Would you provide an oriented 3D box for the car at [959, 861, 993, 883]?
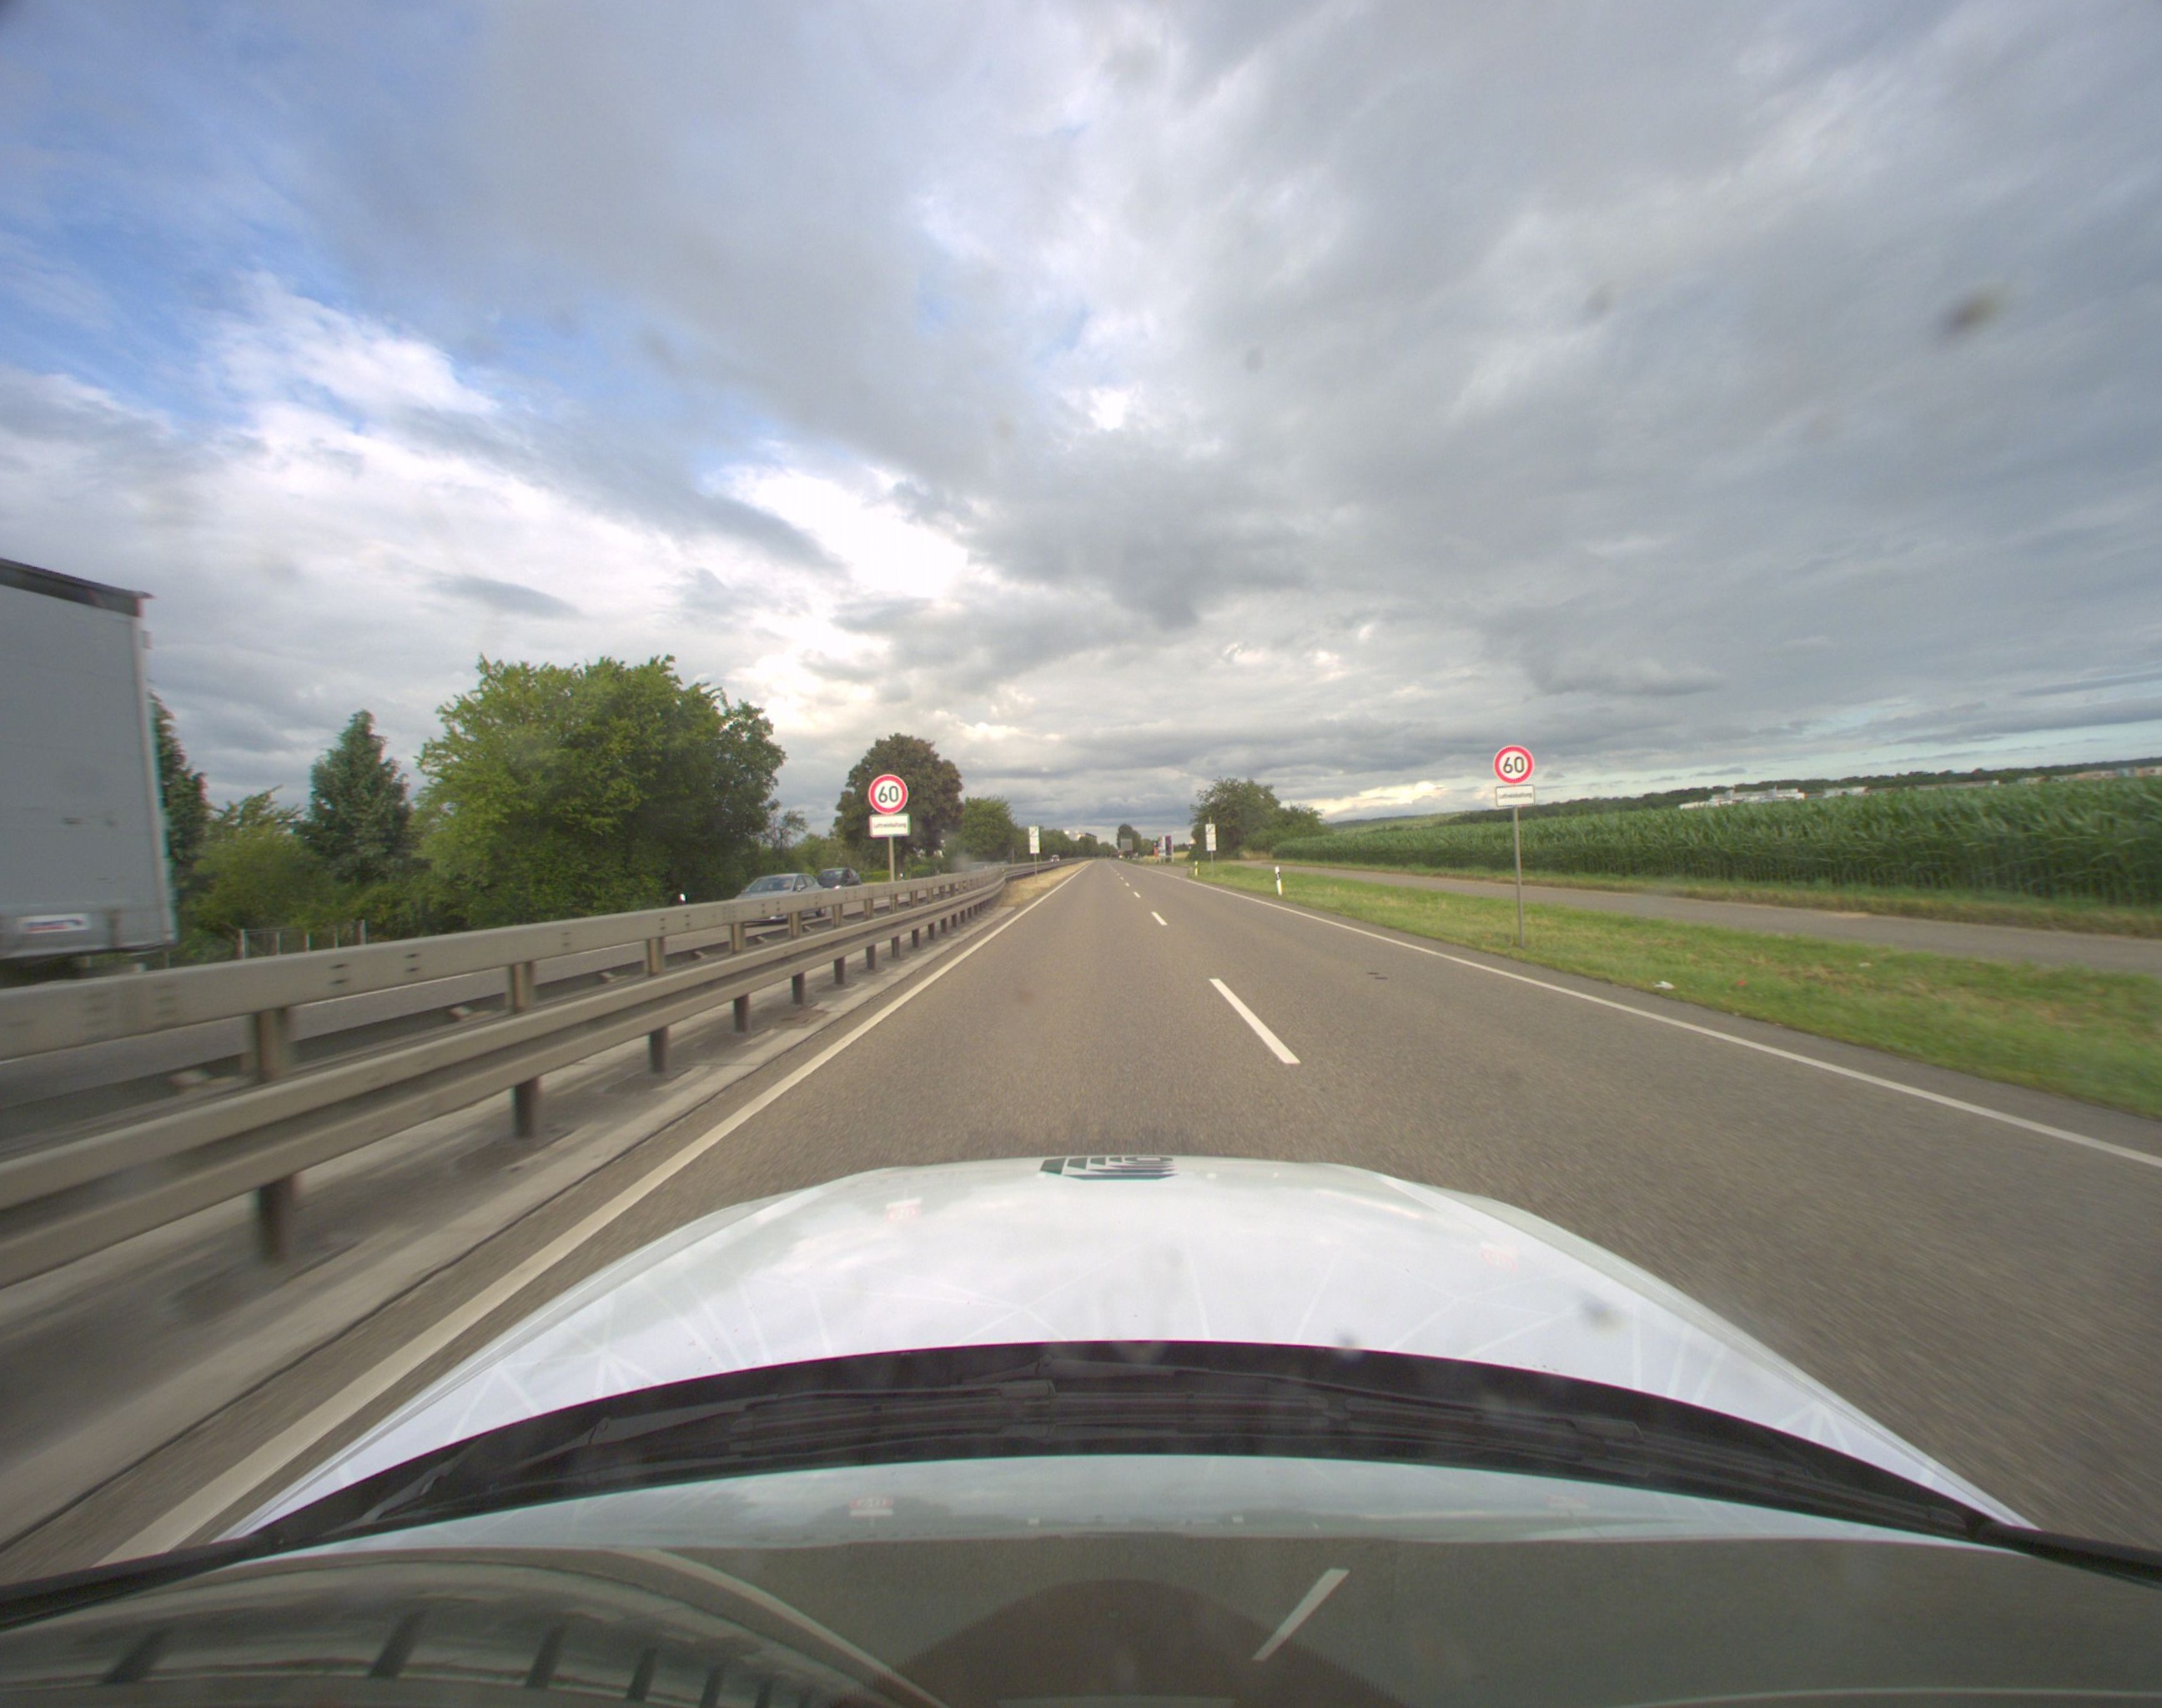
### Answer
[{"bbox_3d":[-8.082,1.365,63.245,1.860,1.477,4.826,-3,0,1],"label":"car"}]

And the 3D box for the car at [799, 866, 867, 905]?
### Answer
[{"bbox_3d":[-11.681,1.427,38.622,1.782,1.573,4.161,-3,0,1],"label":"car"}]

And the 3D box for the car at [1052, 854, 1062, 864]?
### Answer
[{"bbox_3d":[-5.605,1.151,190.286,1.985,2.140,5.322,-4,0,3],"label":"car"}]

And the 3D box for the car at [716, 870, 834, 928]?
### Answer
[{"bbox_3d":[-8.921,1.274,24.177,1.782,1.386,4.161,-3,0,1],"label":"car"}]

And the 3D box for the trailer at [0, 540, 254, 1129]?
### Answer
[{"bbox_3d":[-9.443,-0.055,0.340,3.452,4.150,13.920,-5,0,1],"label":"trailer"}]
